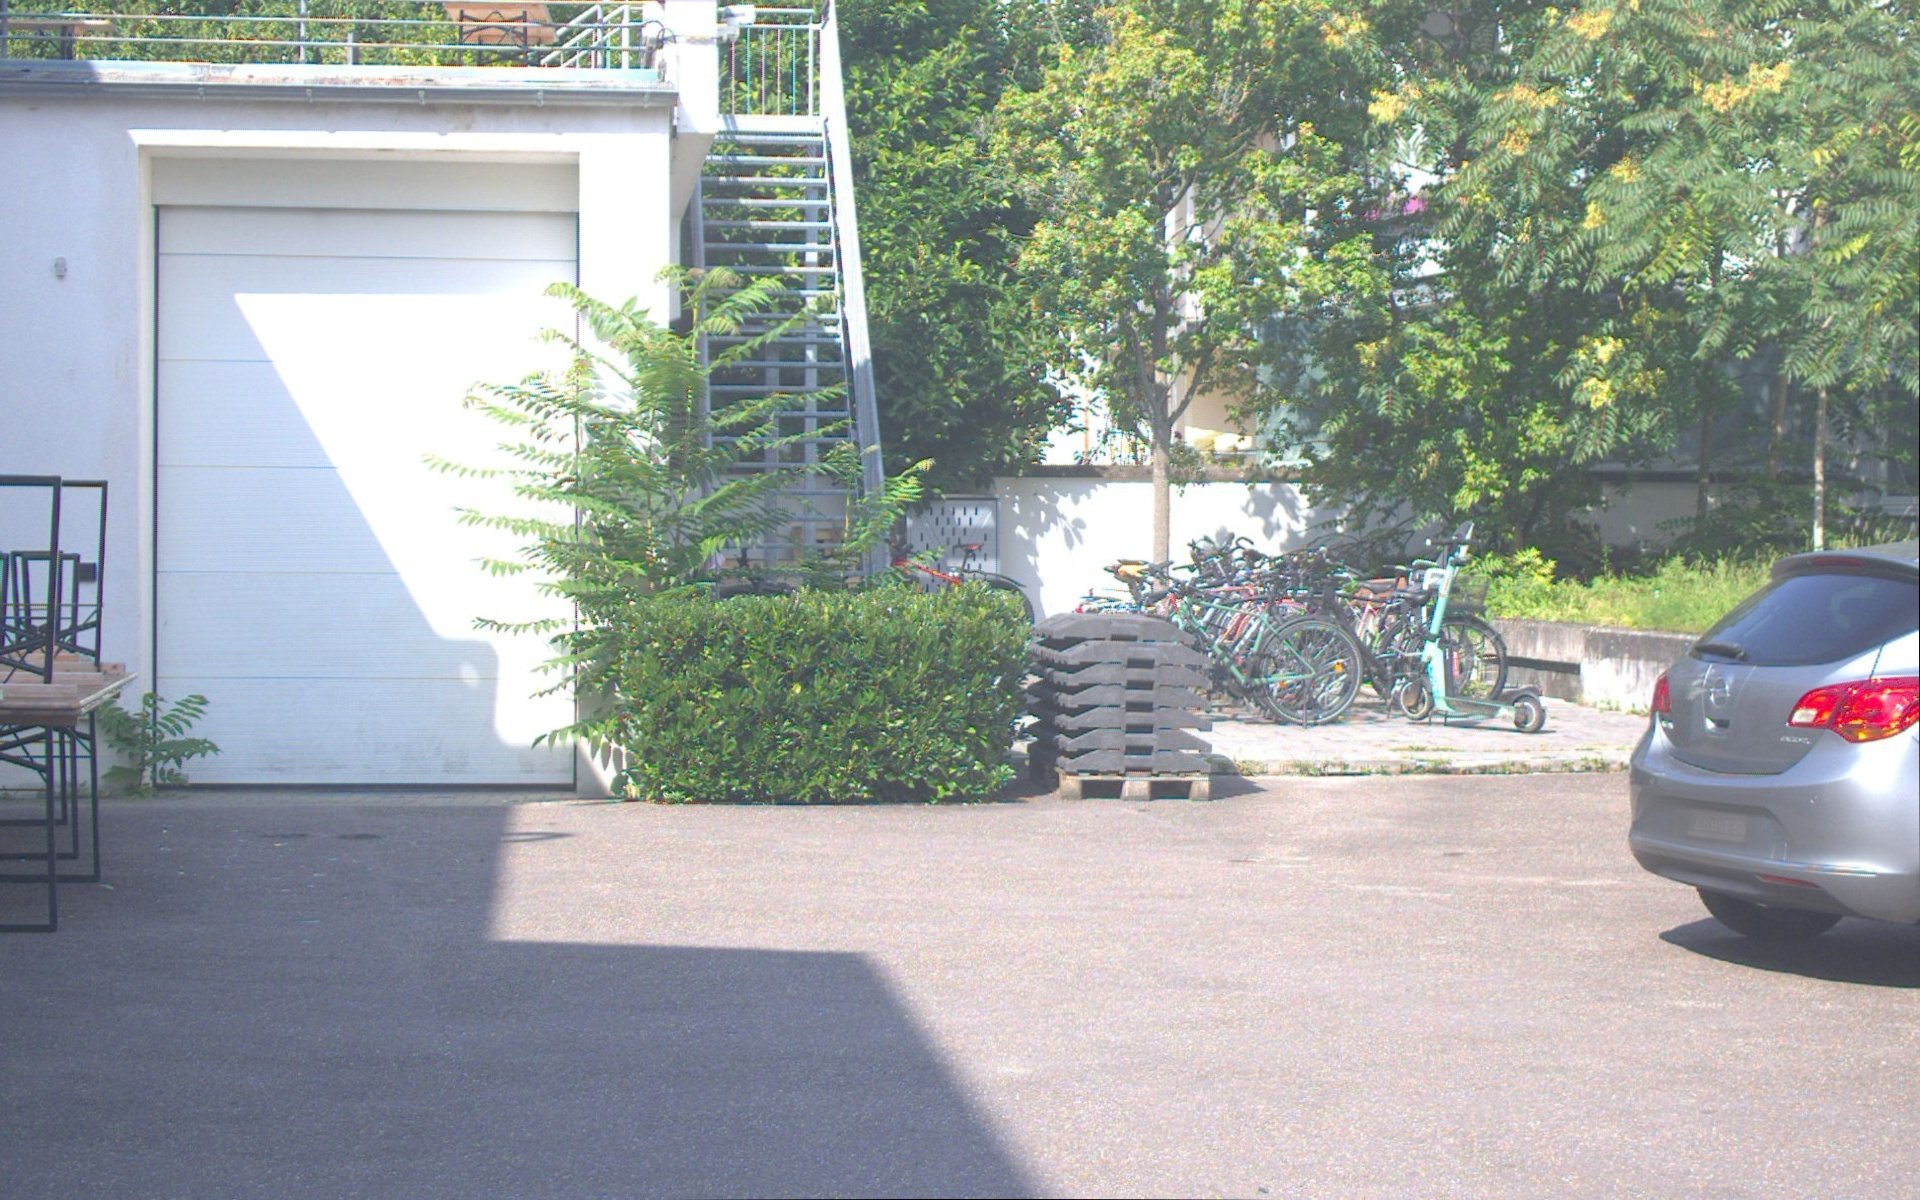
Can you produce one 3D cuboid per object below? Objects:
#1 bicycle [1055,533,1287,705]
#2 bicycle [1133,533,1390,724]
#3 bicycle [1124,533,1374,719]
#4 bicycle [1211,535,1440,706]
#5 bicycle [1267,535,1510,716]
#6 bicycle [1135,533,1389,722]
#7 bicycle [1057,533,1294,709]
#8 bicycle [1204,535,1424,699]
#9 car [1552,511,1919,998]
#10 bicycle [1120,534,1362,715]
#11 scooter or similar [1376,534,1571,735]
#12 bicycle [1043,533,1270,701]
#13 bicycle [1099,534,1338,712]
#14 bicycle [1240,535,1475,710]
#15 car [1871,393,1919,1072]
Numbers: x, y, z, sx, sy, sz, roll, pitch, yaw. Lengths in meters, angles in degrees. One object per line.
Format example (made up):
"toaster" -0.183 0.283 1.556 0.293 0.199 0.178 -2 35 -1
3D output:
"bicycle" 1.537 0.130 25.026 1.622 1.210 0.424 -1 1 -12
"bicycle" 1.955 0.182 22.313 1.623 1.210 0.327 -1 1 -5
"bicycle" 1.923 0.171 22.928 1.623 1.210 0.327 -1 1 -5
"bicycle" 2.635 0.146 24.802 1.623 1.210 0.424 0 1 6
"bicycle" 2.917 0.173 23.387 1.623 1.210 0.327 0 1 9
"bicycle" 1.985 0.176 22.639 1.623 1.210 0.327 -1 1 -5
"bicycle" 1.525 0.141 24.387 1.623 1.210 0.424 -1 1 -7
"bicycle" 2.661 0.128 25.836 1.623 1.210 0.424 0 1 6
"car" 4.223 0.443 11.802 3.931 1.477 1.775 0 1 -15
"bicycle" 1.907 0.162 23.380 1.623 1.210 0.327 0 1 4
"scooter or similar" 3.307 0.205 22.210 0.378 1.256 1.348 -2 2 -38
"bicycle" 1.464 0.118 25.624 1.622 1.210 0.424 -1 1 -11
"bicycle" 1.789 0.155 23.734 1.623 1.210 0.327 0 1 7
"bicycle" 2.798 0.158 24.239 1.623 1.210 0.424 0 1 7
"car" 4.880 0.341 8.967 4.499 1.788 1.884 0 1 -15
